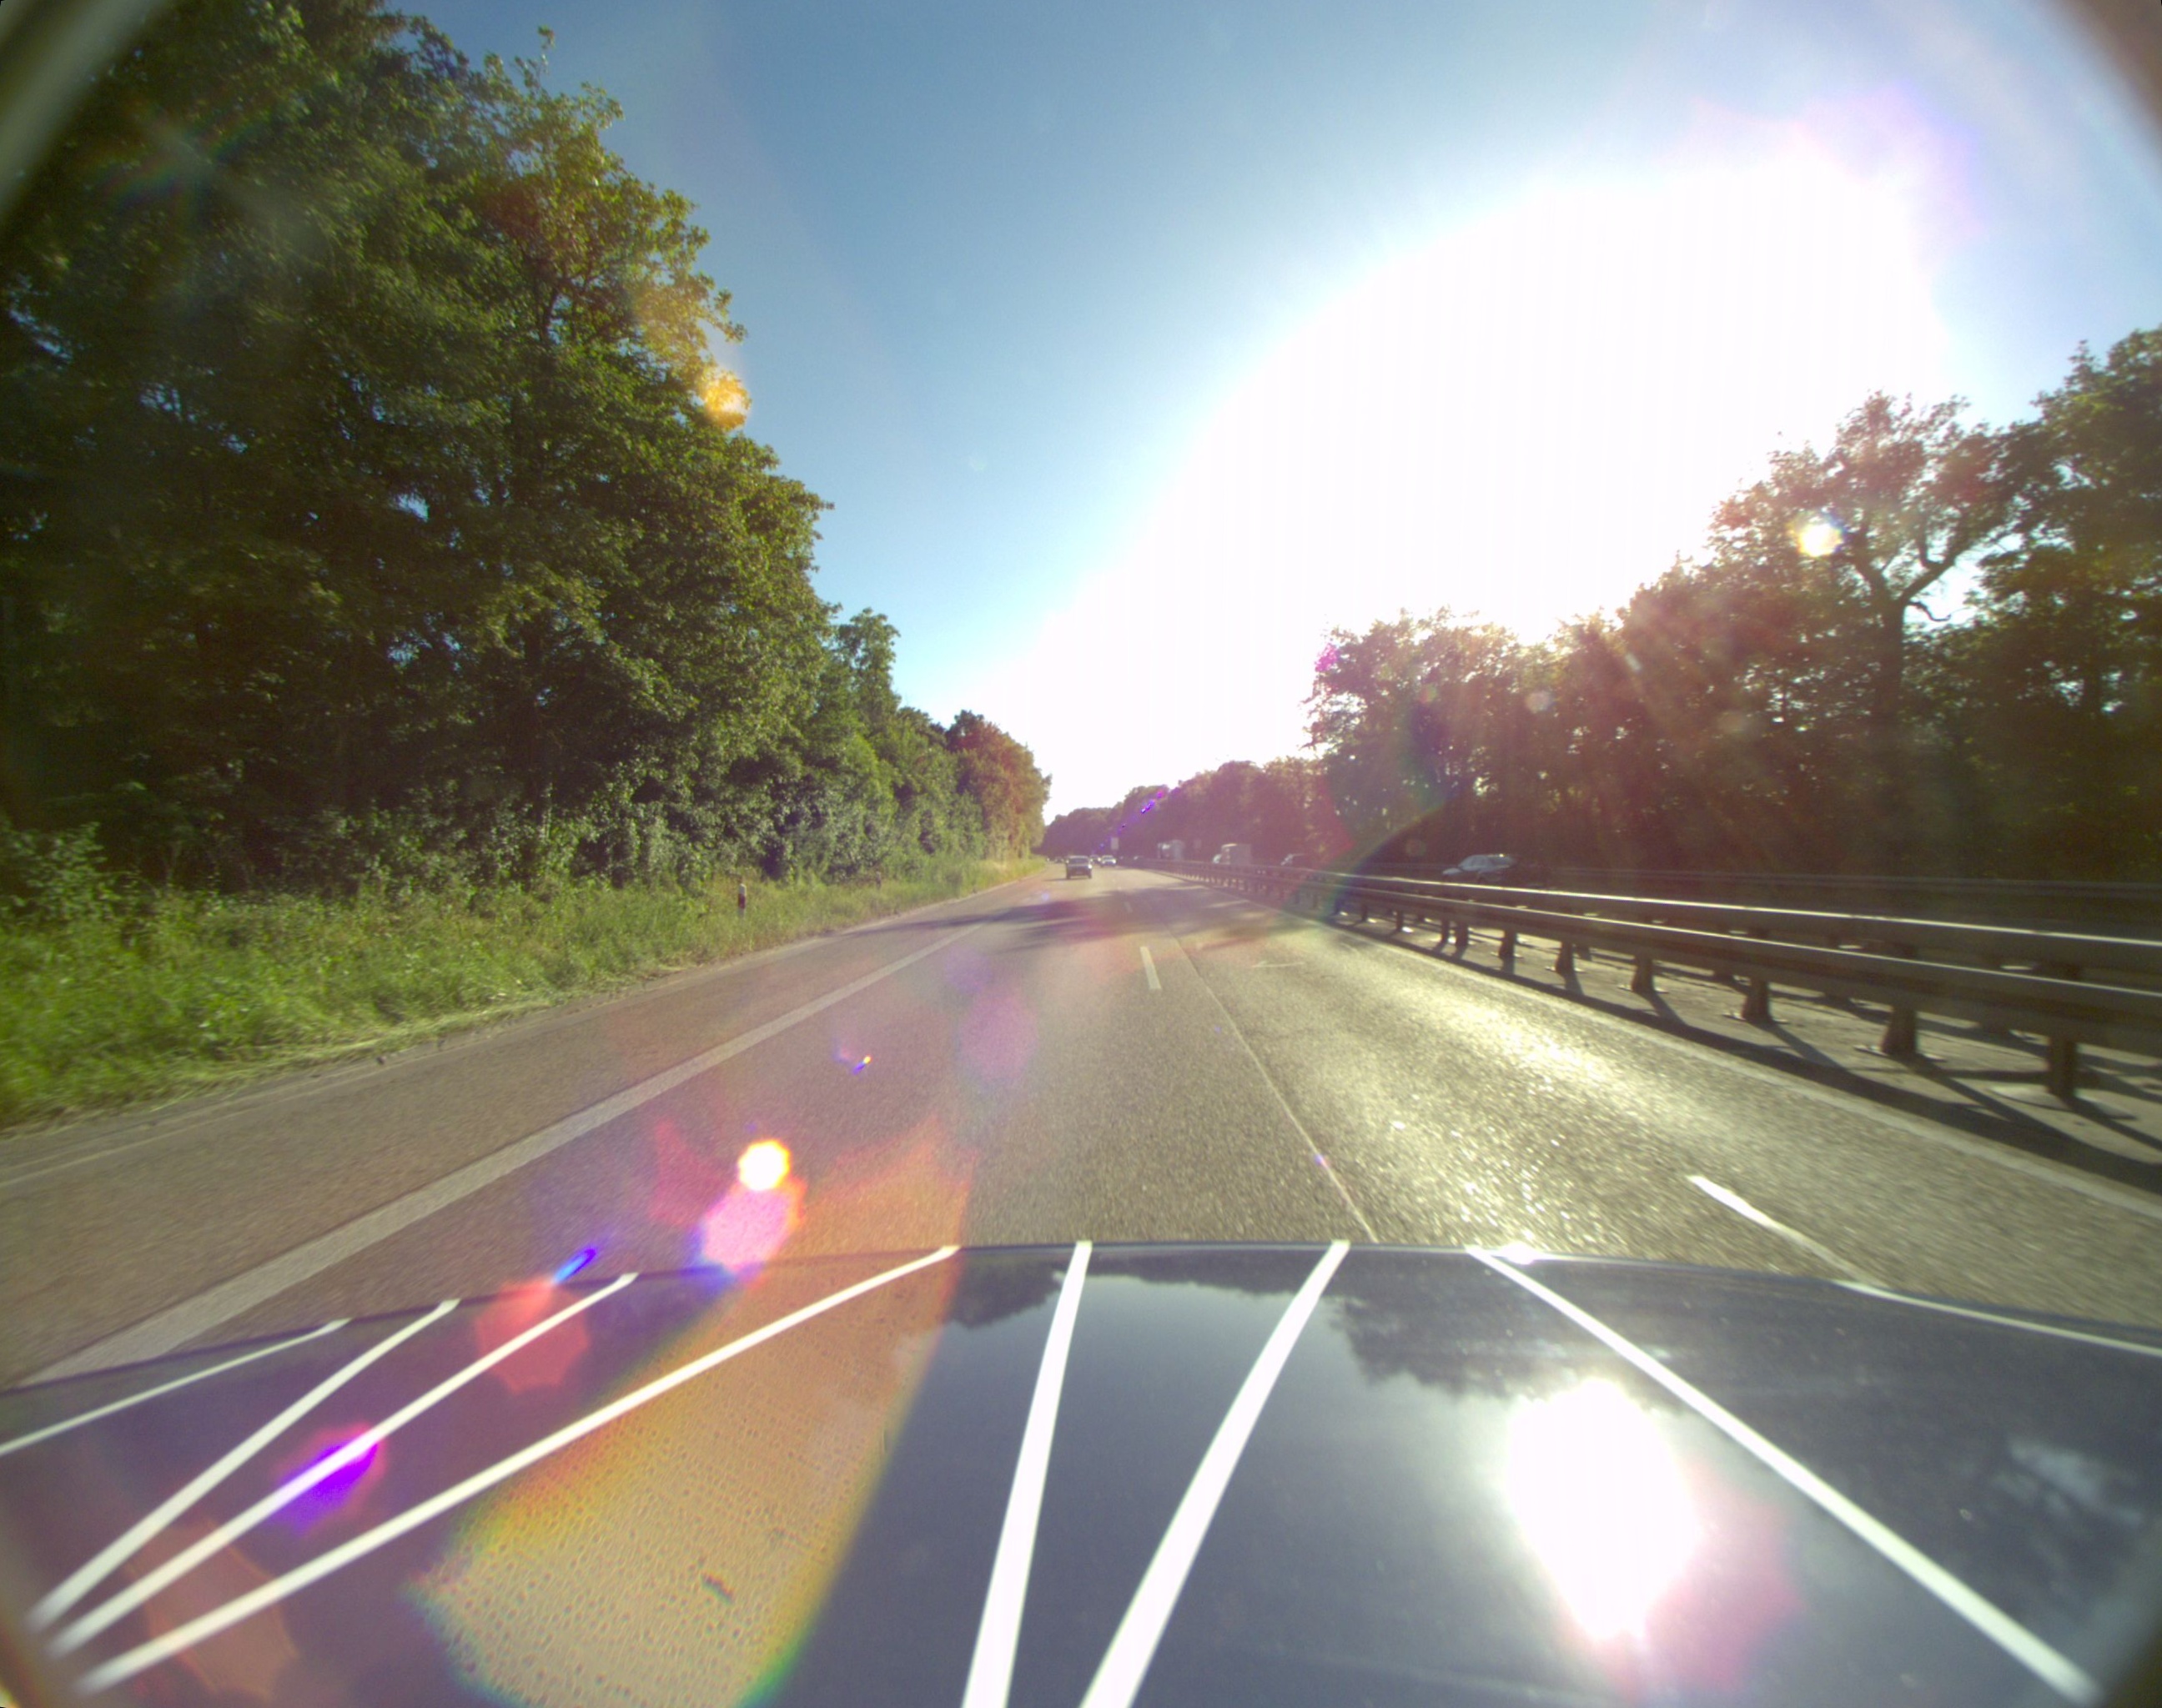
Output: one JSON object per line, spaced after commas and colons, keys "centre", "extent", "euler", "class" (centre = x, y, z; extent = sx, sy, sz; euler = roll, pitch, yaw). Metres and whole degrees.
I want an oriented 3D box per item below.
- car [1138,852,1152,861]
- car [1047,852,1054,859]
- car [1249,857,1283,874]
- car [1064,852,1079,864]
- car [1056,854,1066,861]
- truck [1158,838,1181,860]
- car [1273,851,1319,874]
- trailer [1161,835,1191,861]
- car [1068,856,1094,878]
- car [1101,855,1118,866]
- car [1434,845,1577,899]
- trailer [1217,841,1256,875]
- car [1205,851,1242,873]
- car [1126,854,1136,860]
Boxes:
{"centre": [10.892, 0.392, 129.681], "extent": [1.803, 1.458, 4.695], "euler": [0, 0, -2], "class": "car"}
{"centre": [-9.056, 0.495, 225.733], "extent": [1.999, 2.002, 3.998], "euler": [-1, 0, -5], "class": "car"}
{"centre": [17.720, 1.075, 73.032], "extent": [2.076, 1.458, 4.985], "euler": [-2, 0, 1], "class": "car"}
{"centre": [-1.493, 0.602, 117.242], "extent": [1.999, 1.761, 3.998], "euler": [-1, 0, -5], "class": "car"}
{"centre": [-4.844, 0.851, 182.772], "extent": [1.999, 1.761, 3.998], "euler": [-1, 0, -5], "class": "car"}
{"centre": [14.833, -0.801, 127.660], "extent": [2.988, 3.609, 6.155], "euler": [-1, 0, 0], "class": "truck"}
{"centre": [16.186, 0.644, 57.586], "extent": [2.076, 1.604, 5.059], "euler": [-2, 0, 1], "class": "car"}
{"centre": [14.992, -0.953, 120.861], "extent": [3.060, 3.974, 10.970], "euler": [-1, 0, -1], "class": "trailer"}
{"centre": [0.034, 0.885, 53.603], "extent": [1.801, 1.453, 4.356], "euler": [-1, 0, 1], "class": "car"}
{"centre": [3.656, 0.827, 99.209], "extent": [1.904, 1.453, 4.355], "euler": [-1, 0, -1], "class": "car"}
{"centre": [15.178, 0.581, 27.687], "extent": [2.124, 1.715, 5.877], "euler": [-2, 0, 3], "class": "car"}
{"centre": [11.897, 0.296, 58.487], "extent": [1.999, 2.423, 4.606], "euler": [-1, 0, -1], "class": "trailer"}
{"centre": [11.846, 0.629, 63.406], "extent": [2.077, 1.738, 5.224], "euler": [-1, 0, -1], "class": "car"}
{"centre": [10.786, 0.631, 164.235], "extent": [1.670, 1.458, 4.091], "euler": [-1, 0, -2], "class": "car"}
